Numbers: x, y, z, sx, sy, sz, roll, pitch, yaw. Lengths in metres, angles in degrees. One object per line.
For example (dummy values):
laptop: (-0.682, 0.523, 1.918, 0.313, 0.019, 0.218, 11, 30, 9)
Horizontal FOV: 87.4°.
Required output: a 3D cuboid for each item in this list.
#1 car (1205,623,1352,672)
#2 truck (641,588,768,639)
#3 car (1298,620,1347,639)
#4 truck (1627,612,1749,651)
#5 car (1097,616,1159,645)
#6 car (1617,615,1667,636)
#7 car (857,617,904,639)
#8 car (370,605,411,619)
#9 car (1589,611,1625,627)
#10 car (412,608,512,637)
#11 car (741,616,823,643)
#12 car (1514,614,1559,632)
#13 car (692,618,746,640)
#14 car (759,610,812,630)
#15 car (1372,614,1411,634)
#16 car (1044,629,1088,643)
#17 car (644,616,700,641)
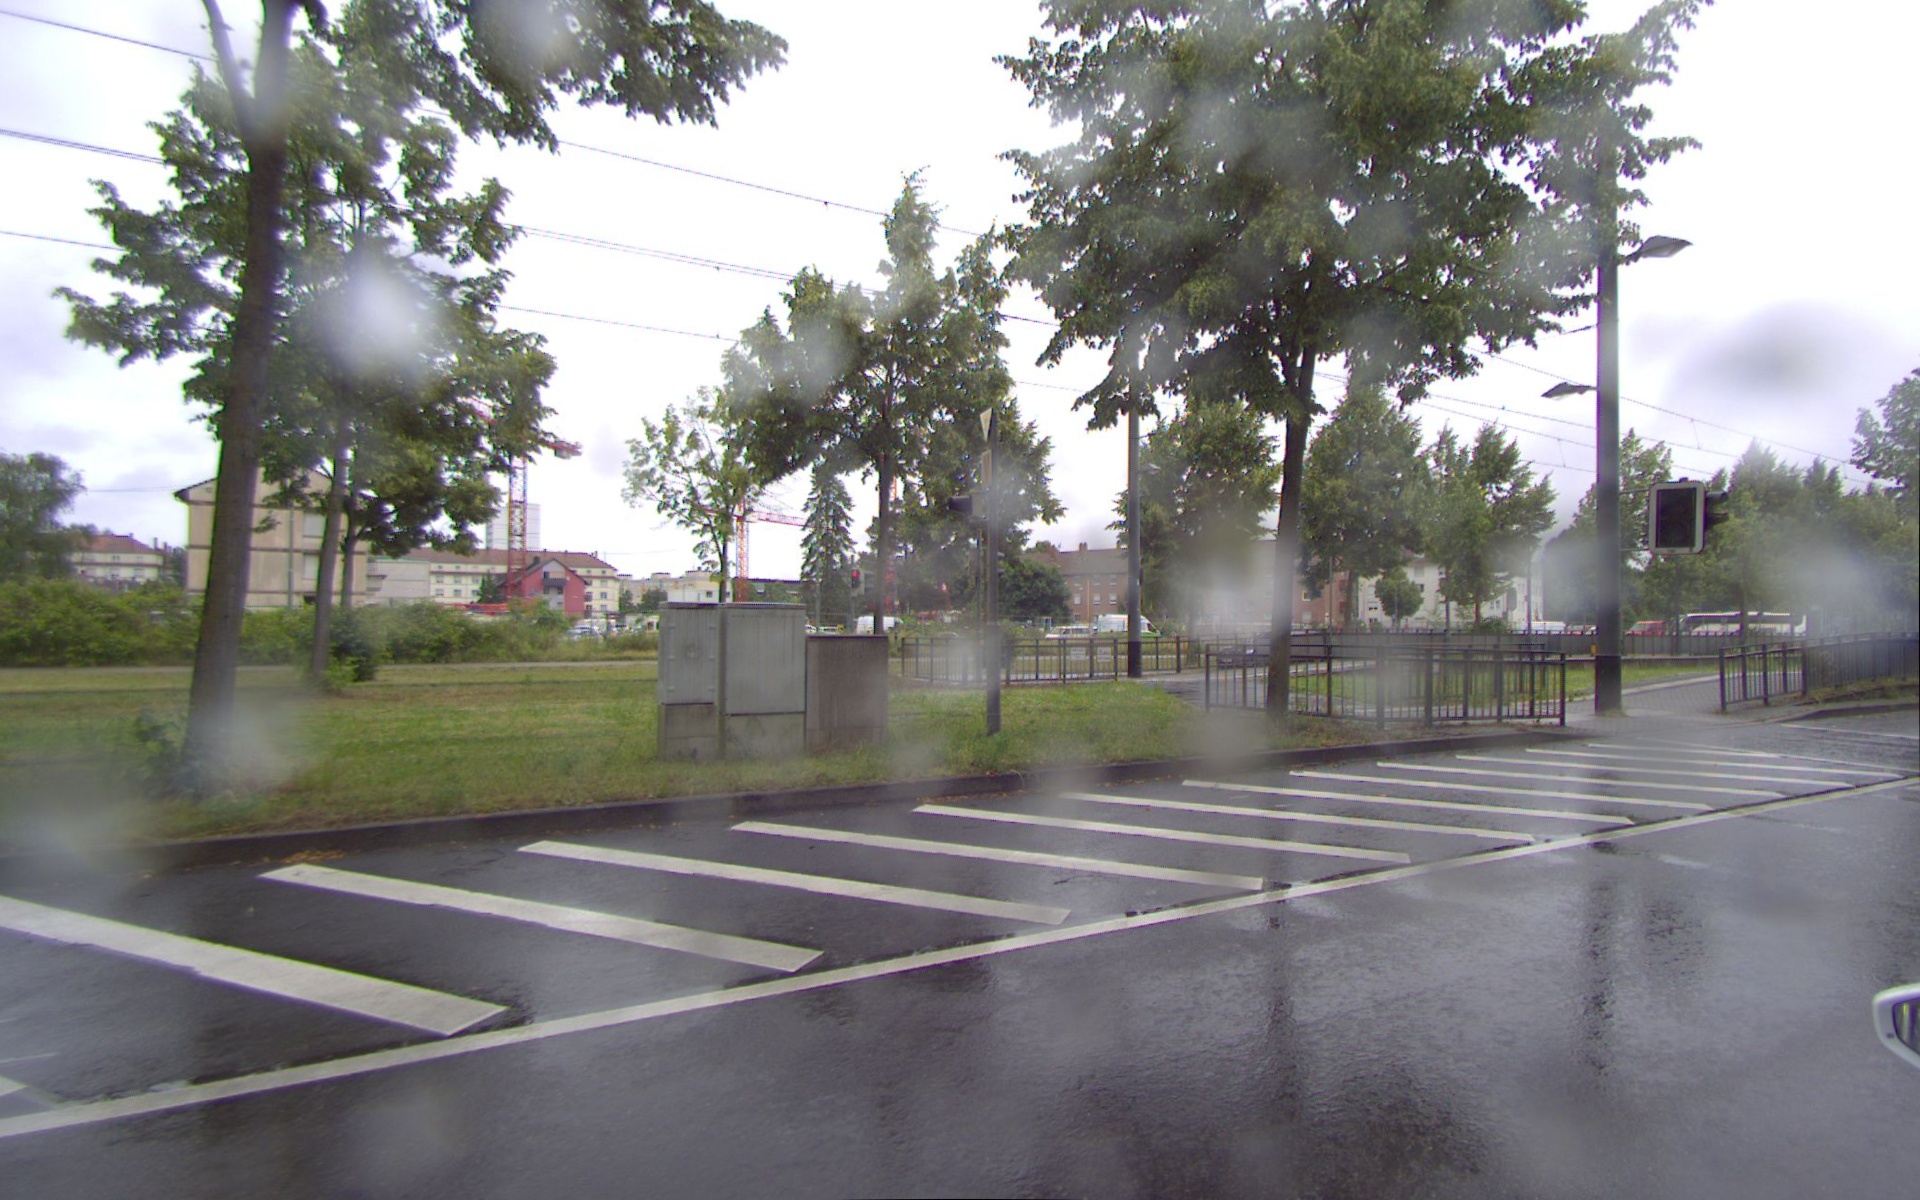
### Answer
car: (11.247, 1.631, 35.317, 5.440, 1.629, 1.940, 1, -2, -32)
truck: (-29.513, 1.480, 116.767, 6.108, 5.468, 13.248, -2, 0, 39)
car: (42.264, 3.439, 117.165, 5.294, 2.040, 2.082, -2, 0, -23)
truck: (91.359, 4.056, 126.456, 12.285, 4.654, 3.392, -2, 0, 34)
car: (14.795, 2.662, 88.379, 5.434, 2.357, 1.829, -2, 0, -30)
car: (67.475, 2.507, 99.427, 3.933, 2.040, 1.994, 1, -1, -15)
car: (-7.269, 2.593, 91.854, 3.967, 1.840, 1.809, -2, 0, -40)
car: (-55.933, 1.197, 98.684, 1.461, 1.228, 3.250, -2, 0, 42)
car: (77.236, 2.312, 119.984, 3.487, 1.762, 1.699, -2, 0, 37)
car: (-32.500, 1.448, 65.642, 5.711, 1.694, 2.035, -2, 0, -32)
car: (-13.802, 2.234, 77.924, 5.937, 1.840, 2.074, -2, 0, -31)
car: (64.809, 2.572, 112.967, 4.144, 2.040, 1.994, 1, -1, -15)
car: (-18.707, 2.256, 77.994, 3.768, 1.540, 1.732, -2, 0, -30)
car: (-19.545, 2.177, 112.489, 5.460, 2.040, 1.981, -2, 0, -35)
car: (47.473, 2.674, 110.486, 3.953, 2.040, 1.984, -2, 0, -30)
car: (9.805, 3.295, 92.616, 3.768, 1.171, 1.732, -2, 0, -30)
car: (-23.104, 2.291, 80.657, 3.967, 1.840, 1.809, -2, 0, -40)
